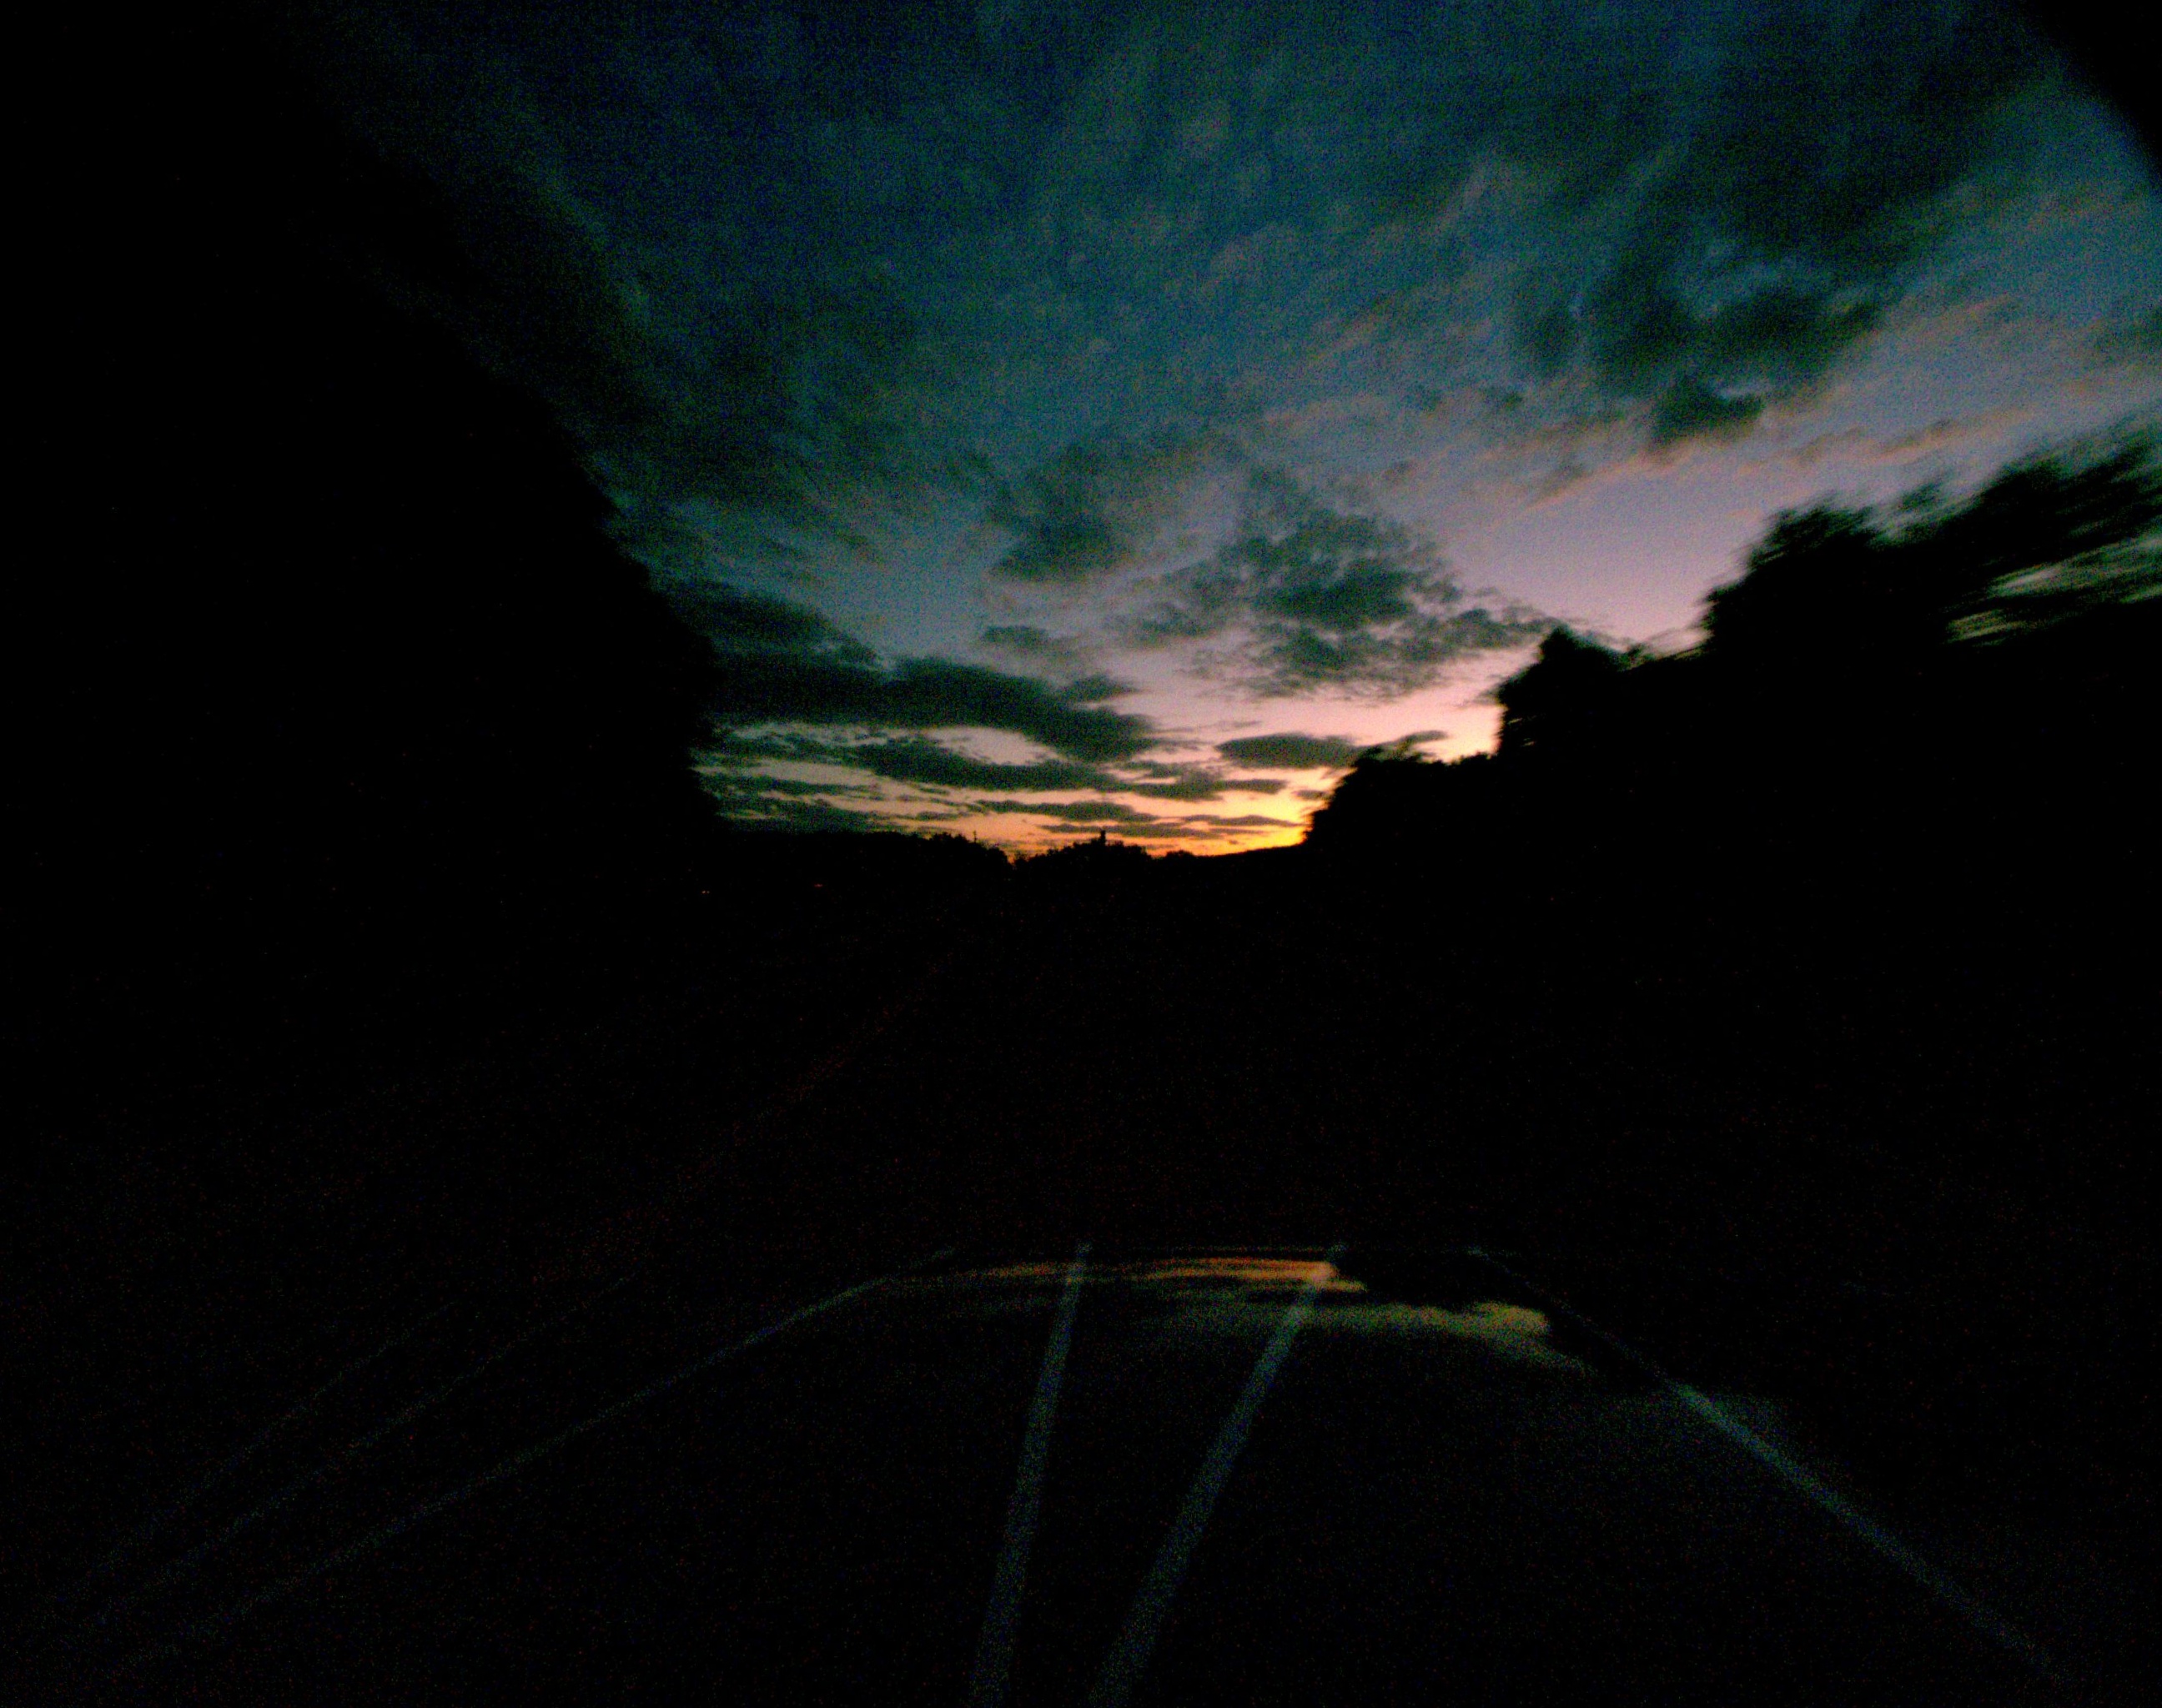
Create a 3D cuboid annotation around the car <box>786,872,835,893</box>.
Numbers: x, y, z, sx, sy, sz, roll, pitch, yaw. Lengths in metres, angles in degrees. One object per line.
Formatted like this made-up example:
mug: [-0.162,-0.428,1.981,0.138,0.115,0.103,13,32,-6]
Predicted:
car: [-34.530,3.650,96.980,6.481,2.514,2.269,-2,0,32]
